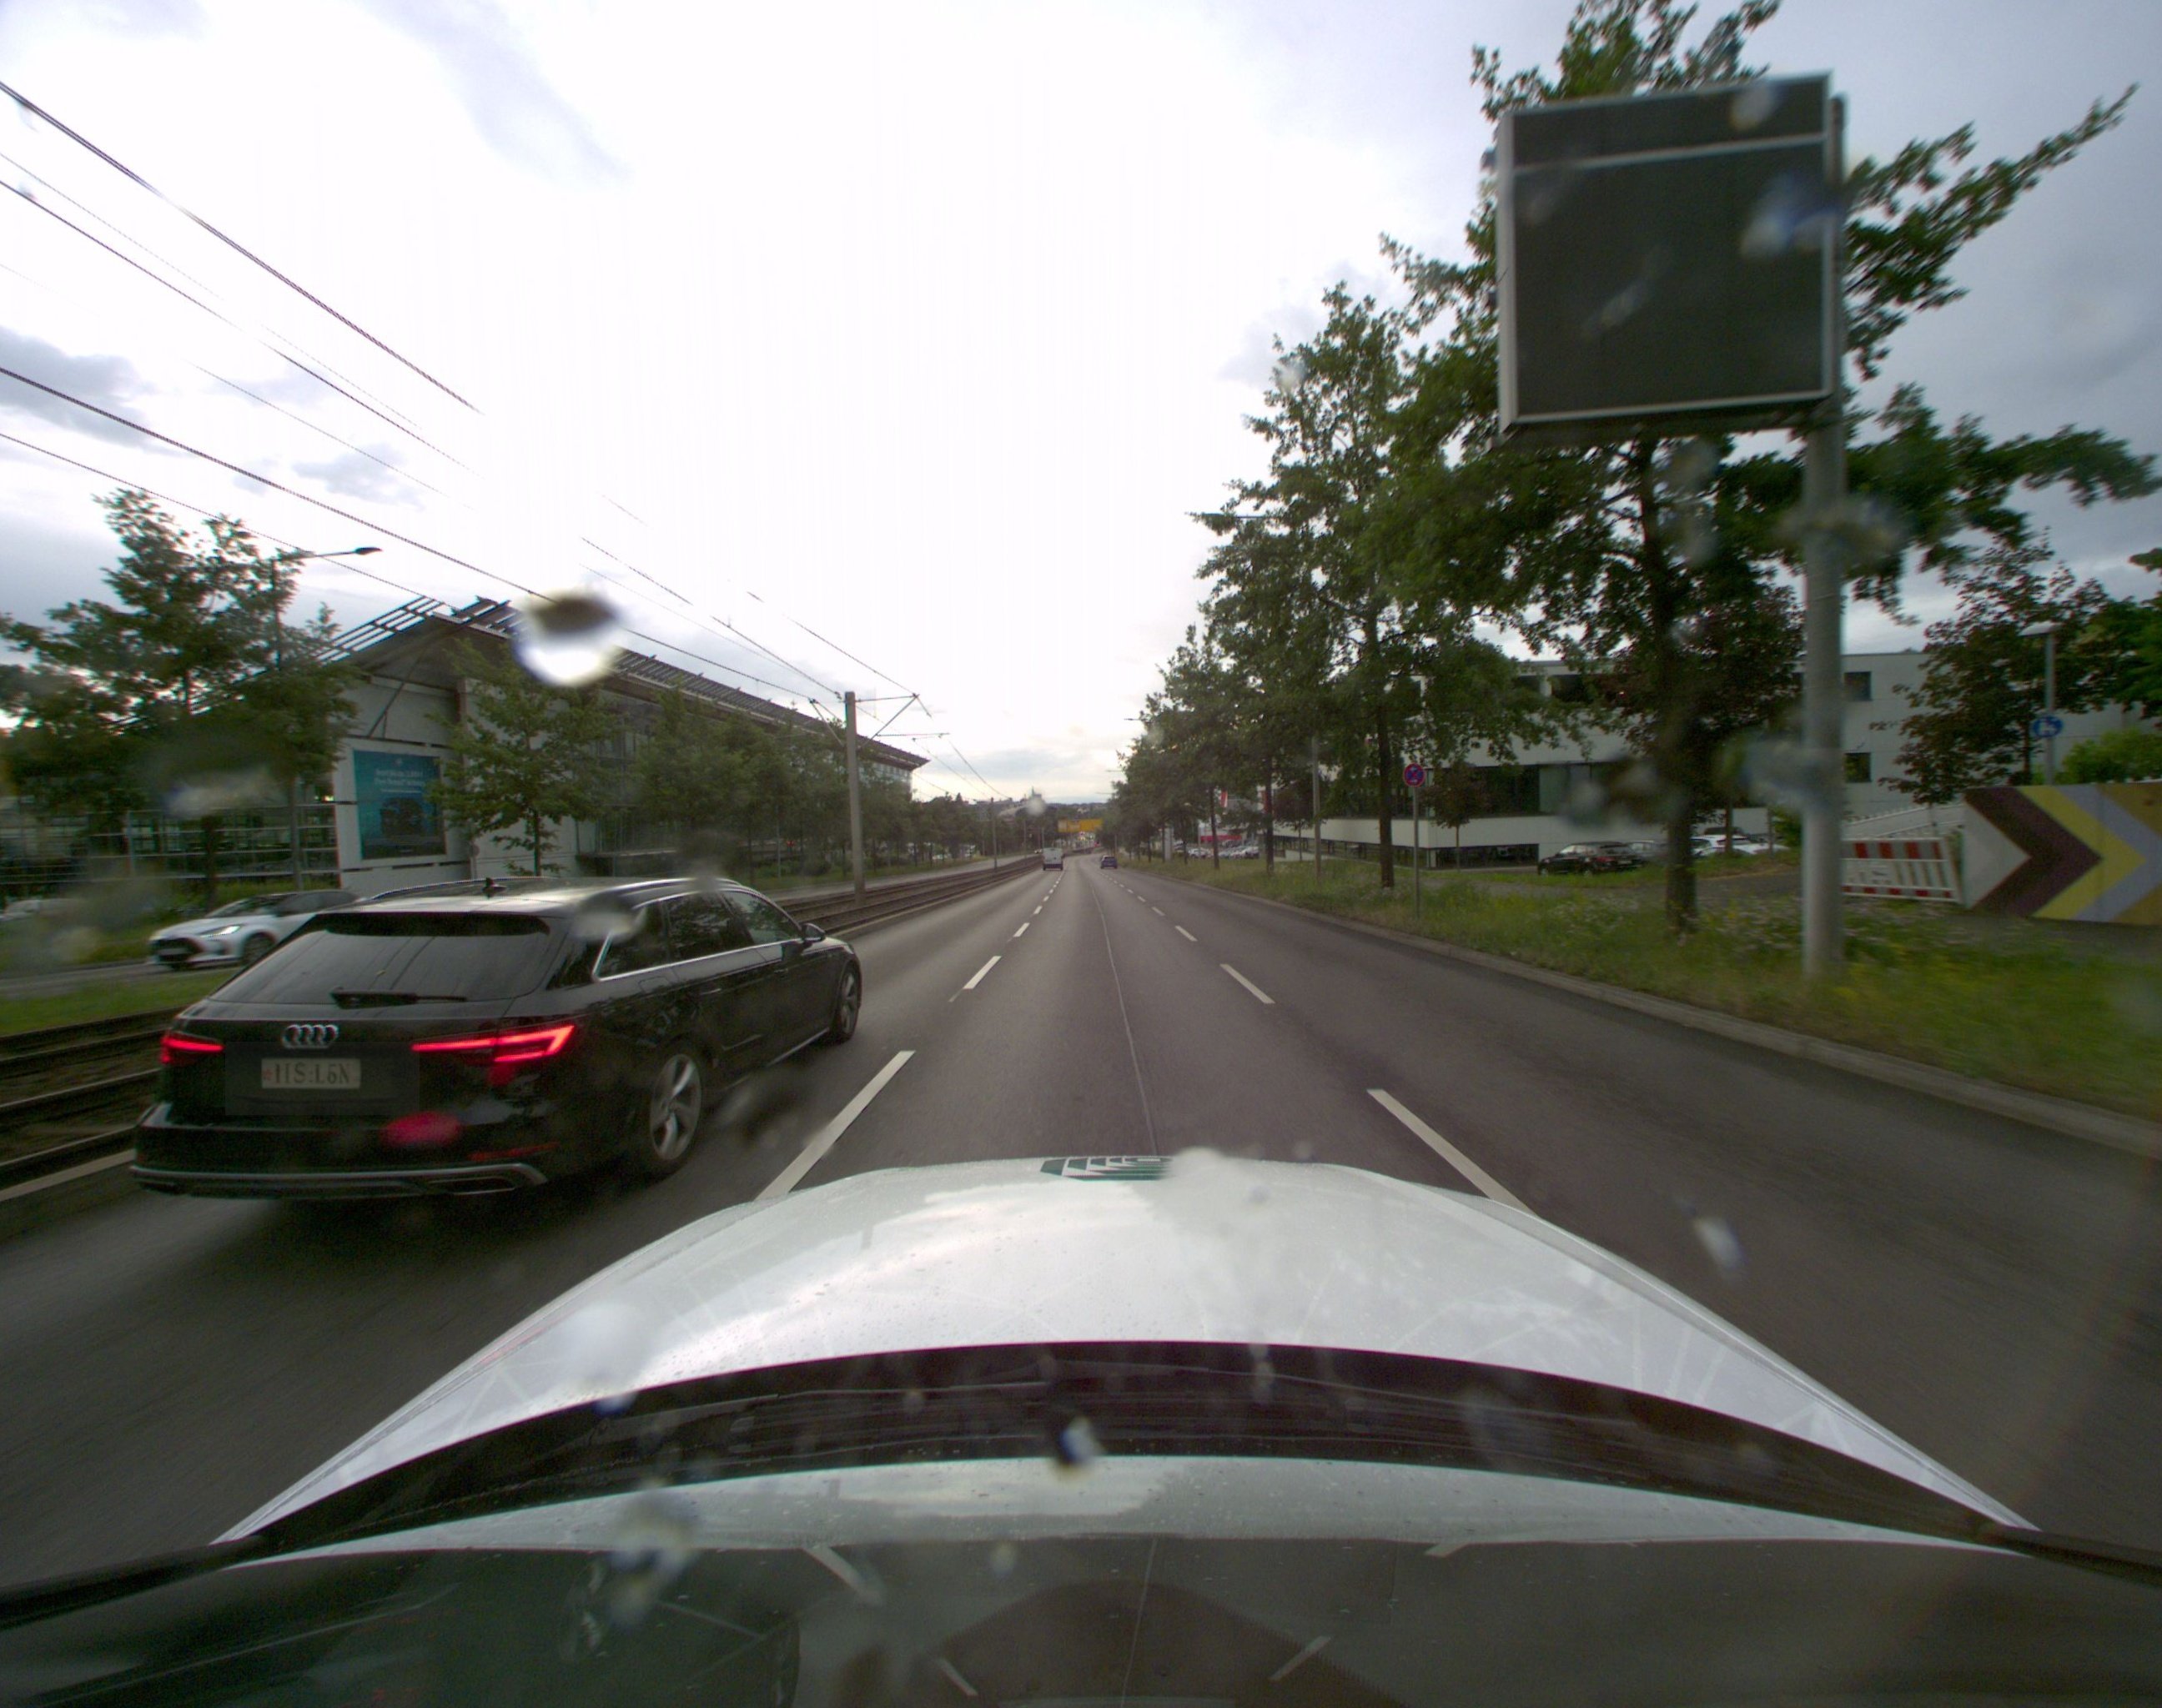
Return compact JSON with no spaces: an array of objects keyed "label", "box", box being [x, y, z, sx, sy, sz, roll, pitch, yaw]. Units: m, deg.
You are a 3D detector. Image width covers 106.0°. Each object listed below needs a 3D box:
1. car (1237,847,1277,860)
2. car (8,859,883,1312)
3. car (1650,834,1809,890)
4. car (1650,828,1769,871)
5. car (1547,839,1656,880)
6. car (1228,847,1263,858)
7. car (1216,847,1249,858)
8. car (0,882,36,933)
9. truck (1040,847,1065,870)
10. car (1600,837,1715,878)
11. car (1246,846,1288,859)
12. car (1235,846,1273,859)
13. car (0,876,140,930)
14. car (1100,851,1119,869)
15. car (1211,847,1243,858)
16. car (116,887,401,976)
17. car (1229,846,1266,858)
[{"label":"car","box":[19.177,-0.089,88.852,3.969,1.354,2.002,0,0,4]},{"label":"car","box":[-2.774,0.815,5.231,1.784,1.434,4.828,-1,1,0]},{"label":"car","box":[20.656,0.236,26.169,1.858,1.643,4.005,0,0,-2]},{"label":"car","box":[25.559,-0.176,33.320,1.856,1.643,4.009,0,0,1]},{"label":"car","box":[20.642,0.207,32.518,1.856,1.545,4.009,0,0,1]},{"label":"car","box":[20.360,-0.203,100.809,3.969,1.354,2.002,0,0,4]},{"label":"car","box":[19.318,-0.197,103.756,3.969,1.354,2.002,0,0,4]},{"label":"car","box":[-37.207,1.773,26.649,4.037,1.618,1.639,0,0,3]},{"label":"truck","box":[-2.923,0.434,84.581,2.353,2.262,5.304,0,0,-1]},{"label":"car","box":[23.065,0.122,32.771,1.856,1.545,4.009,0,0,1]},{"label":"car","box":[19.541,-0.189,85.660,3.969,1.354,2.002,0,0,4]},{"label":"car","box":[19.363,-0.191,91.444,3.969,1.354,2.002,0,0,4]},{"label":"car","box":[-37.047,1.750,29.416,4.055,1.836,1.864,0,0,3]},{"label":"car","box":[3.096,0.642,89.741,1.986,2.013,3.935,0,0,1]},{"label":"car","box":[19.067,-0.197,106.760,3.969,1.354,2.002,0,0,4]},{"label":"car","box":[-17.503,1.575,17.686,1.874,1.447,4.139,-2,0,1]},{"label":"car","box":[19.280,-0.191,94.304,3.969,1.354,2.002,0,0,4]}]
